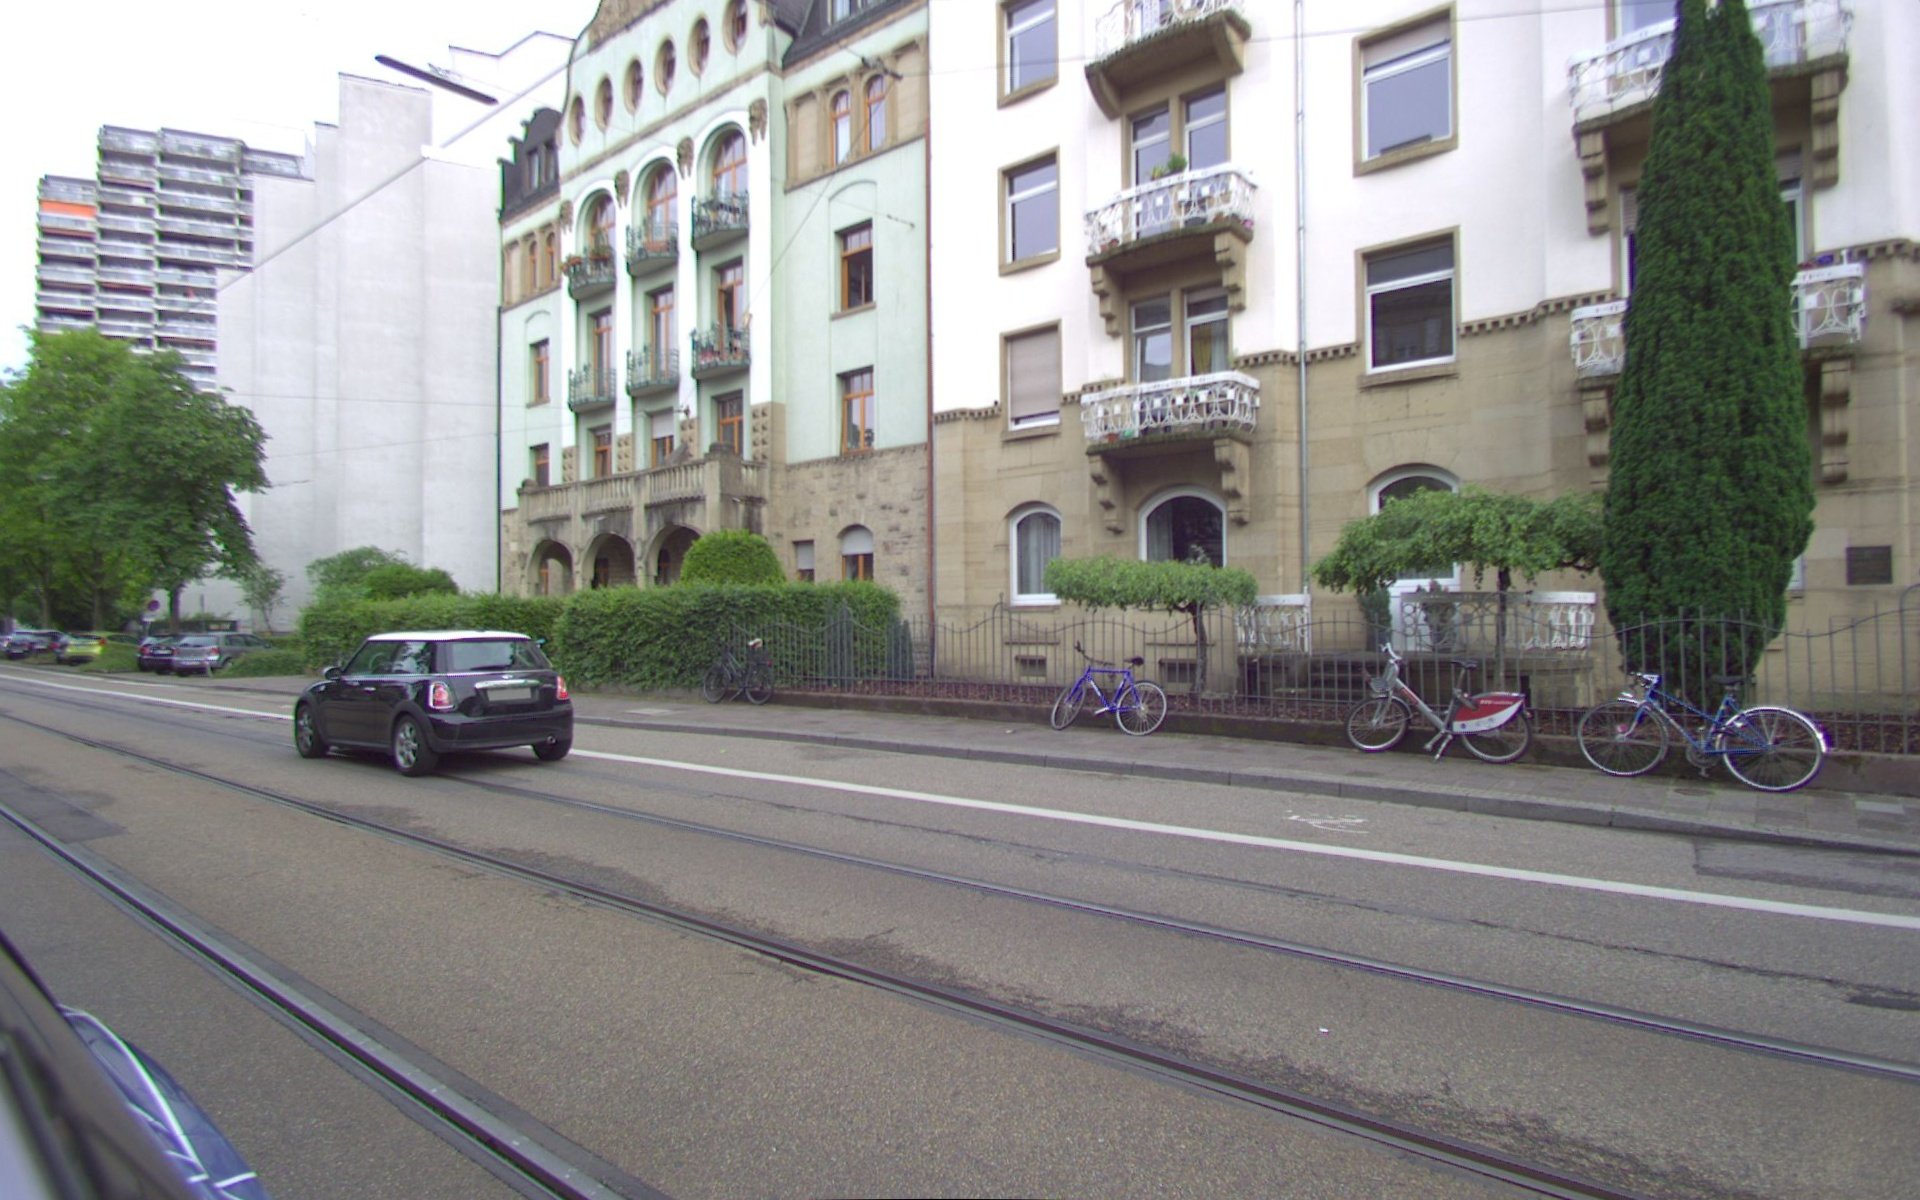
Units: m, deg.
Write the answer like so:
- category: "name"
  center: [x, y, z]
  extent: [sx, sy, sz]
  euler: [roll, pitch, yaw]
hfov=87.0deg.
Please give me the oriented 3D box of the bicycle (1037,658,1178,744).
- category: "bicycle"
  center: [1.780, 1.208, 12.372]
  extent: [1.660, 0.935, 0.354]
  euler: [-3, -22, 42]

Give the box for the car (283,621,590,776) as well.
- category: "car"
  center: [-5.759, 0.974, 11.025]
  extent: [3.480, 1.433, 1.594]
  euler: [-2, -3, 37]

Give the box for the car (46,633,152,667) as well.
- category: "car"
  center: [-39.563, 2.282, 46.627]
  extent: [1.670, 1.453, 4.004]
  euler: [0, -2, -4]

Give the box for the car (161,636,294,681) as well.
- category: "car"
  center: [-24.764, 1.946, 34.392]
  extent: [1.671, 1.414, 4.000]
  euler: [0, -2, -1]

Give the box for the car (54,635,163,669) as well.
- category: "car"
  center: [-37.348, 2.241, 44.519]
  extent: [1.670, 1.405, 4.004]
  euler: [0, -2, -4]

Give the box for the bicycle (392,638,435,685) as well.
- category: "bicycle"
  center: [-13.258, 1.472, 24.546]
  extent: [1.545, 1.092, 0.356]
  euler: [-2, -2, 39]

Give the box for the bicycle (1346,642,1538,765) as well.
- category: "bicycle"
  center: [4.619, 0.962, 9.764]
  extent: [1.617, 1.110, 0.382]
  euler: [-1, -2, 28]

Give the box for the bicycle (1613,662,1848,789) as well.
- category: "bicycle"
  center: [6.359, 1.002, 8.421]
  extent: [1.513, 0.945, 0.329]
  euler: [-2, -2, 39]

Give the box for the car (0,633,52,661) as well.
- category: "car"
  center: [-57.457, 2.836, 61.251]
  extent: [1.670, 1.632, 4.004]
  euler: [0, -2, -4]

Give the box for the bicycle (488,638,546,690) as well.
- category: "bicycle"
  center: [-10.137, 1.445, 23.175]
  extent: [0.300, 1.091, 1.190]
  euler: [-2, 0, 41]

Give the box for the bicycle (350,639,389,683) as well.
- category: "bicycle"
  center: [-15.341, 1.567, 26.291]
  extent: [1.545, 1.092, 0.356]
  euler: [-2, -2, 39]

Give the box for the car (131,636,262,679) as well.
- category: "car"
  center: [-27.067, 2.000, 36.043]
  extent: [1.671, 1.414, 4.000]
  euler: [0, -2, -1]

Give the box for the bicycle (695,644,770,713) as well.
- category: "bicycle"
  center: [-3.792, 1.277, 16.821]
  extent: [1.545, 1.092, 0.356]
  euler: [-2, -2, 39]

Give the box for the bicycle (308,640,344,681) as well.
- category: "bicycle"
  center: [-17.590, 1.671, 28.079]
  extent: [1.545, 1.092, 0.356]
  euler: [-2, -2, 39]

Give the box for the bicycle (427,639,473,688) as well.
- category: "bicycle"
  center: [-11.745, 1.449, 23.292]
  extent: [1.545, 1.092, 0.356]
  euler: [-2, -2, 39]

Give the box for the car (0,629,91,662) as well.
- category: "car"
  center: [-47.408, 2.335, 52.376]
  extent: [1.670, 1.632, 4.004]
  euler: [0, -2, -4]

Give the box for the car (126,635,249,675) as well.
- category: "car"
  center: [-29.208, 2.038, 38.429]
  extent: [1.671, 1.414, 4.000]
  euler: [0, -2, -1]

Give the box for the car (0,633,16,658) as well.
- category: "car"
  center: [-65.293, 3.048, 67.177]
  extent: [1.670, 1.632, 4.004]
  euler: [0, -2, -4]
